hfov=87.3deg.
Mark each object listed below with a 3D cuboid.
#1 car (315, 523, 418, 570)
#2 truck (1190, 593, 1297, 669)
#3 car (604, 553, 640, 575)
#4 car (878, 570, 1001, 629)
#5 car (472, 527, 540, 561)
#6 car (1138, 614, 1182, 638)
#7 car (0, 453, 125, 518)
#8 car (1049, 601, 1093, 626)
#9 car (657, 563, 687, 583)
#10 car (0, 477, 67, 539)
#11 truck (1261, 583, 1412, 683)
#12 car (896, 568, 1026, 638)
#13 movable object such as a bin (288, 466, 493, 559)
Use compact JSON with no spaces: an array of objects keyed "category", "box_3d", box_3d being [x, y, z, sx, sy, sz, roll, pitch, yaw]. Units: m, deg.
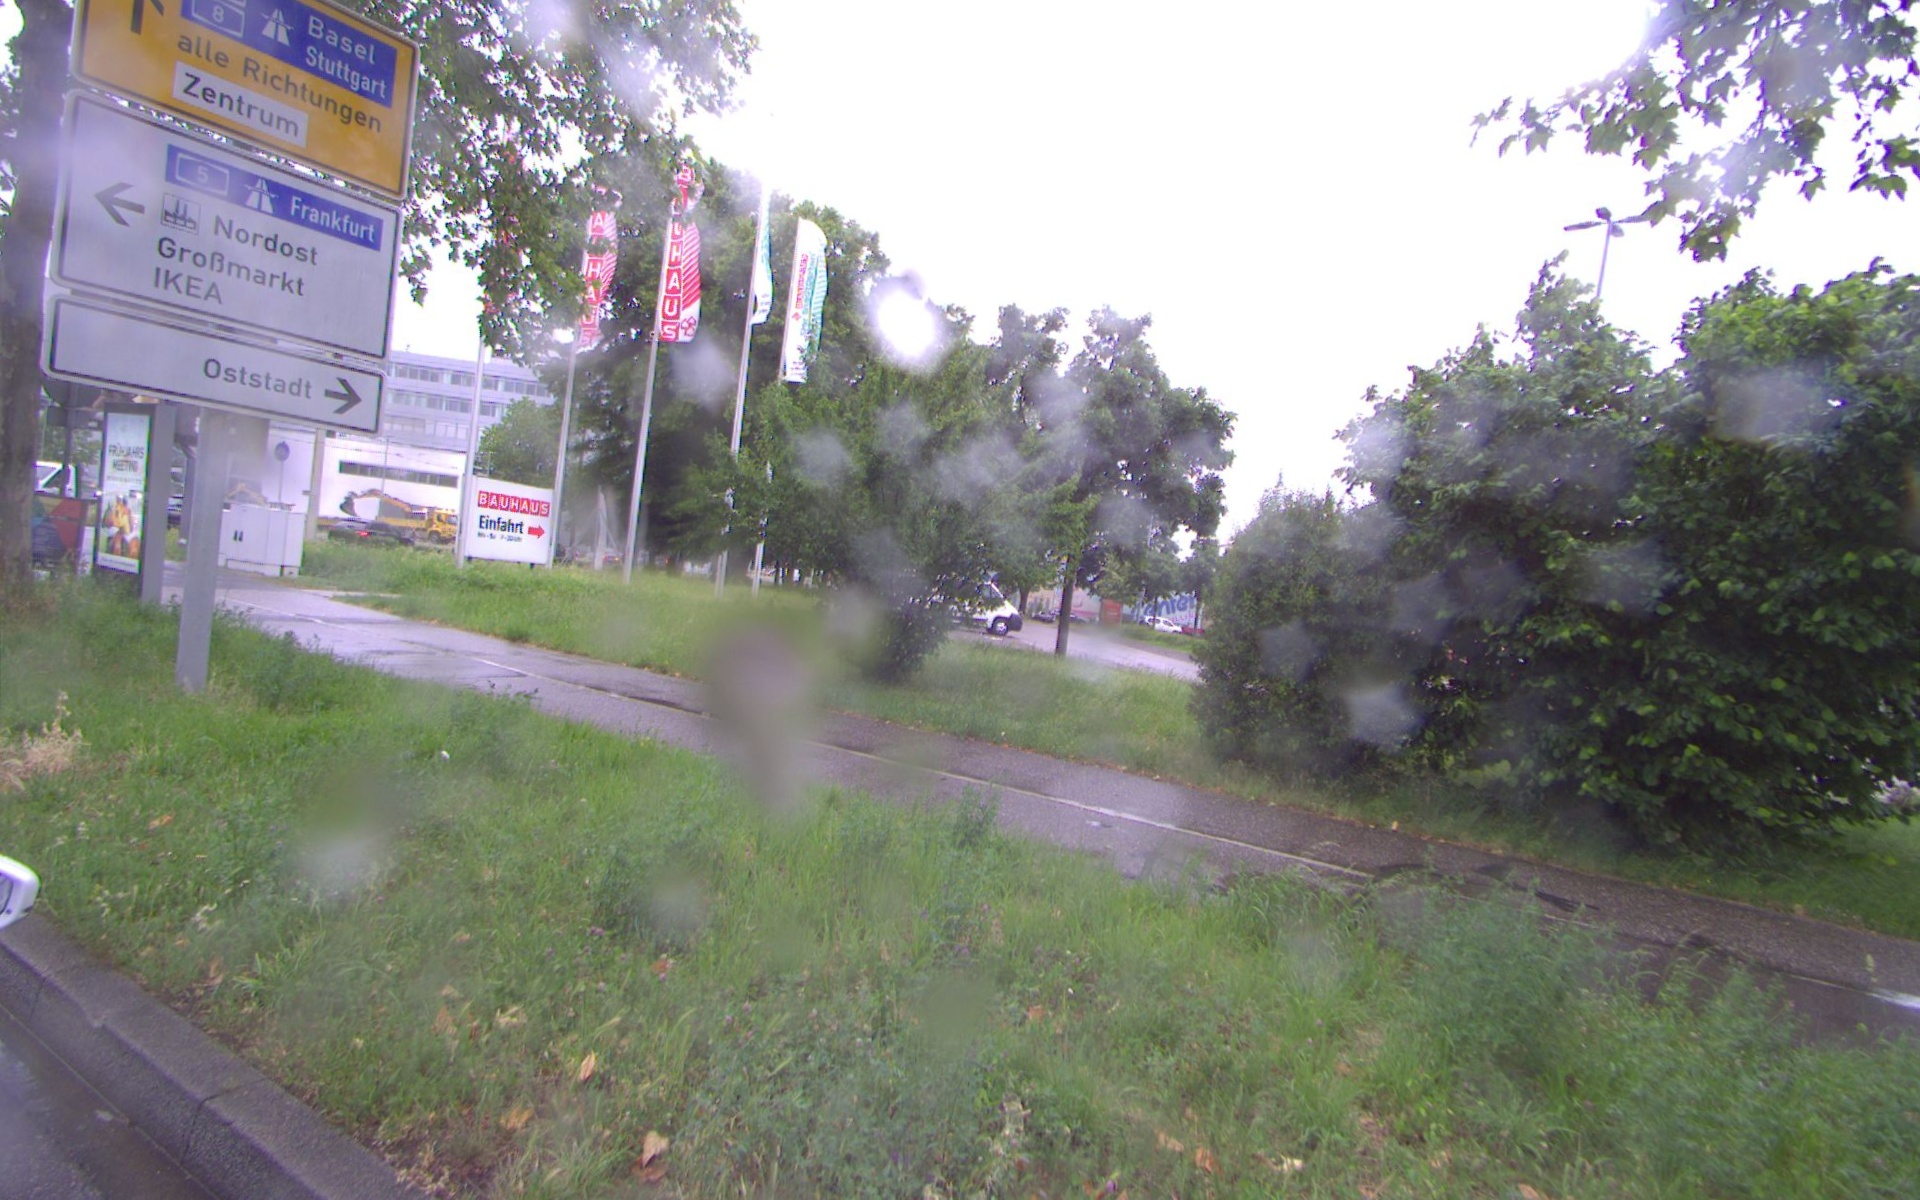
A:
[{"category":"car","box_3d":[-26.736,-2.366,45.509,1.768,1.555,4.389,7,-1,3]},{"category":"truck","box_3d":[16.703,1.748,60.110,2.950,3.857,8.951,7,0,-4]},{"category":"car","box_3d":[-29.236,-3.108,87.140,1.769,1.556,4.384,7,0,-4]},{"category":"car","box_3d":[-1.219,-0.013,57.869,6.702,2.464,2.327,7,0,-4]},{"category":"car","box_3d":[-27.244,-3.342,60.497,1.768,1.556,4.387,7,0,3]},{"category":"car","box_3d":[20.865,2.737,105.091,4.085,2.037,2.001,7,-1,1]},{"category":"car","box_3d":[-37.671,-4.730,42.100,1.769,2.220,4.380,6,2,-3]},{"category":"car","box_3d":[11.179,1.391,101.377,4.085,2.037,2.001,7,-1,1]},{"category":"car","box_3d":[-27.841,-2.589,97.350,1.770,1.556,4.383,7,0,-4]},{"category":"car","box_3d":[-26.649,-2.639,26.798,1.963,1.540,4.062,7,0,0]},{"category":"truck","box_3d":[16.972,1.389,46.172,2.950,3.857,8.283,7,0,-4]},{"category":"car","box_3d":[-0.005,0.127,40.696,4.833,2.180,1.803,7,0,-9]},{"category":"movable object such as a bin","box_3d":[-55.475,-8.382,98.790,14.695,6.356,8.270,7,-1,-2]}]
